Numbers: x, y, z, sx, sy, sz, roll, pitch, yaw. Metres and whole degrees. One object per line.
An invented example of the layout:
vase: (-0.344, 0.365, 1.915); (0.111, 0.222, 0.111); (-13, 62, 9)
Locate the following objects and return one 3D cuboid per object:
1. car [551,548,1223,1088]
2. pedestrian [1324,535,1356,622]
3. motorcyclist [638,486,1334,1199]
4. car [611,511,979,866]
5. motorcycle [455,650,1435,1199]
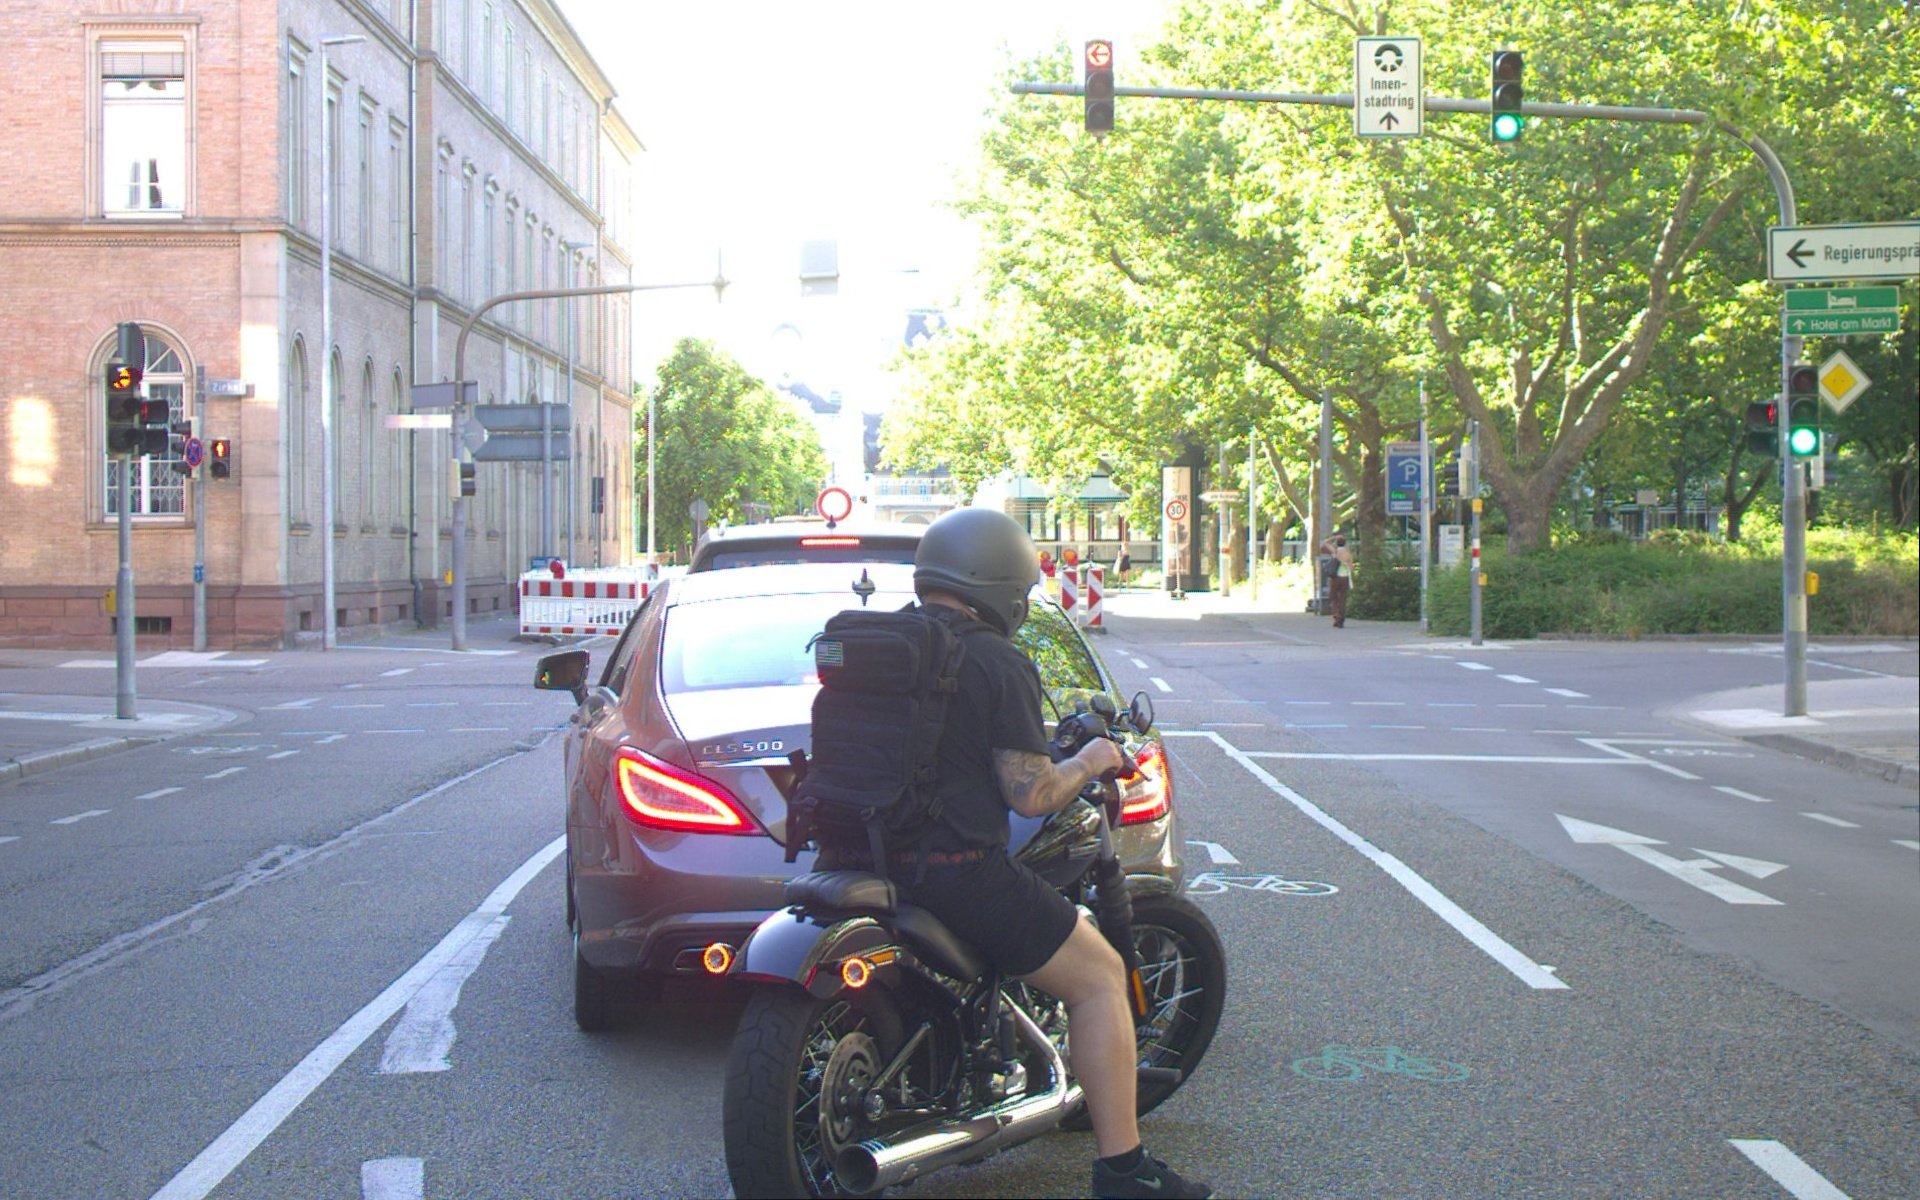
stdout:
car: (-0.448, 0.561, 11.639); (1.821, 1.471, 4.354); (0, 1, -7)
pedestrian: (7.336, -0.417, 66.369); (0.559, 1.672, 0.565); (0, 1, -1)
motorcyclist: (0.082, 0.558, 7.715); (1.115, 1.607, 1.200); (1, 1, 30)
car: (-0.816, 0.376, 17.655); (1.681, 1.619, 3.841); (0, 1, -2)
motorcycle: (0.094, 0.759, 7.738); (1.009, 1.200, 2.661); (1, 1, 30)
